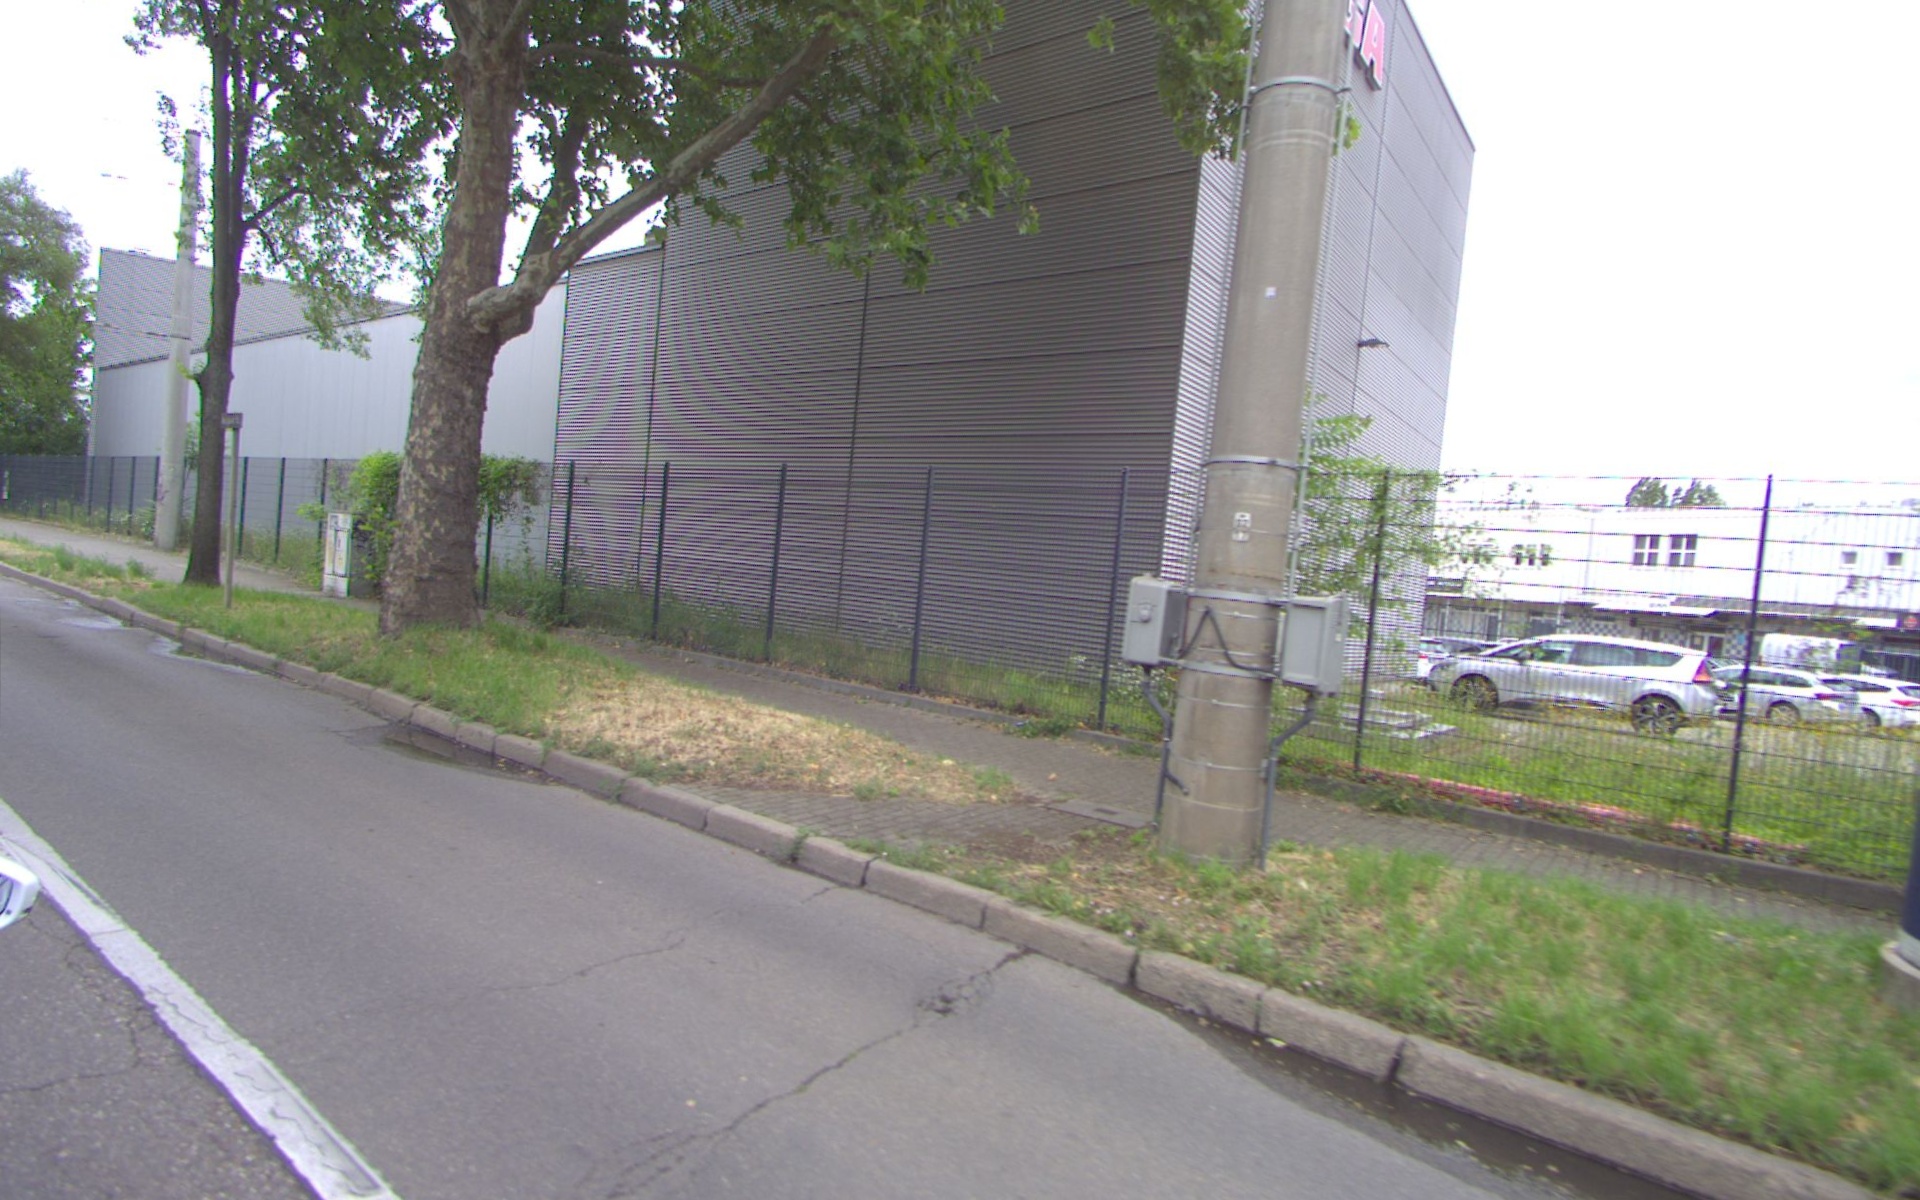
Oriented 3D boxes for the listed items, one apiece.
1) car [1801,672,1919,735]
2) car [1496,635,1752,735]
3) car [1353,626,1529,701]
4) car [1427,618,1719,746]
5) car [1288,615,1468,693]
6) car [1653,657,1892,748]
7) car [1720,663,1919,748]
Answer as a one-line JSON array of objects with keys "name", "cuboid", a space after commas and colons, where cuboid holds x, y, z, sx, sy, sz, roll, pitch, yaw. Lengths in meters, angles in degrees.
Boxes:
[{"name": "car", "cuboid": [30.781, 3.489, 33.096, 1.978, 1.669, 4.240, 8, -1, -29]}, {"name": "car", "cuboid": [15.266, 1.915, 23.356, 4.416, 1.687, 1.999, 6, 1, 4]}, {"name": "car", "cuboid": [14.067, 1.821, 29.685, 1.977, 1.669, 4.242, 8, -1, -27]}, {"name": "car", "cuboid": [11.058, 1.442, 18.381, 4.202, 1.669, 1.996, 6, -1, 34]}, {"name": "car", "cuboid": [11.648, 1.468, 28.325, 1.978, 1.669, 4.240, 8, -1, -29]}, {"name": "car", "cuboid": [20.702, 2.576, 25.843, 1.978, 1.669, 4.240, 8, -1, -29]}, {"name": "car", "cuboid": [23.145, 2.775, 26.659, 1.978, 1.669, 4.240, 8, -1, -29]}]
